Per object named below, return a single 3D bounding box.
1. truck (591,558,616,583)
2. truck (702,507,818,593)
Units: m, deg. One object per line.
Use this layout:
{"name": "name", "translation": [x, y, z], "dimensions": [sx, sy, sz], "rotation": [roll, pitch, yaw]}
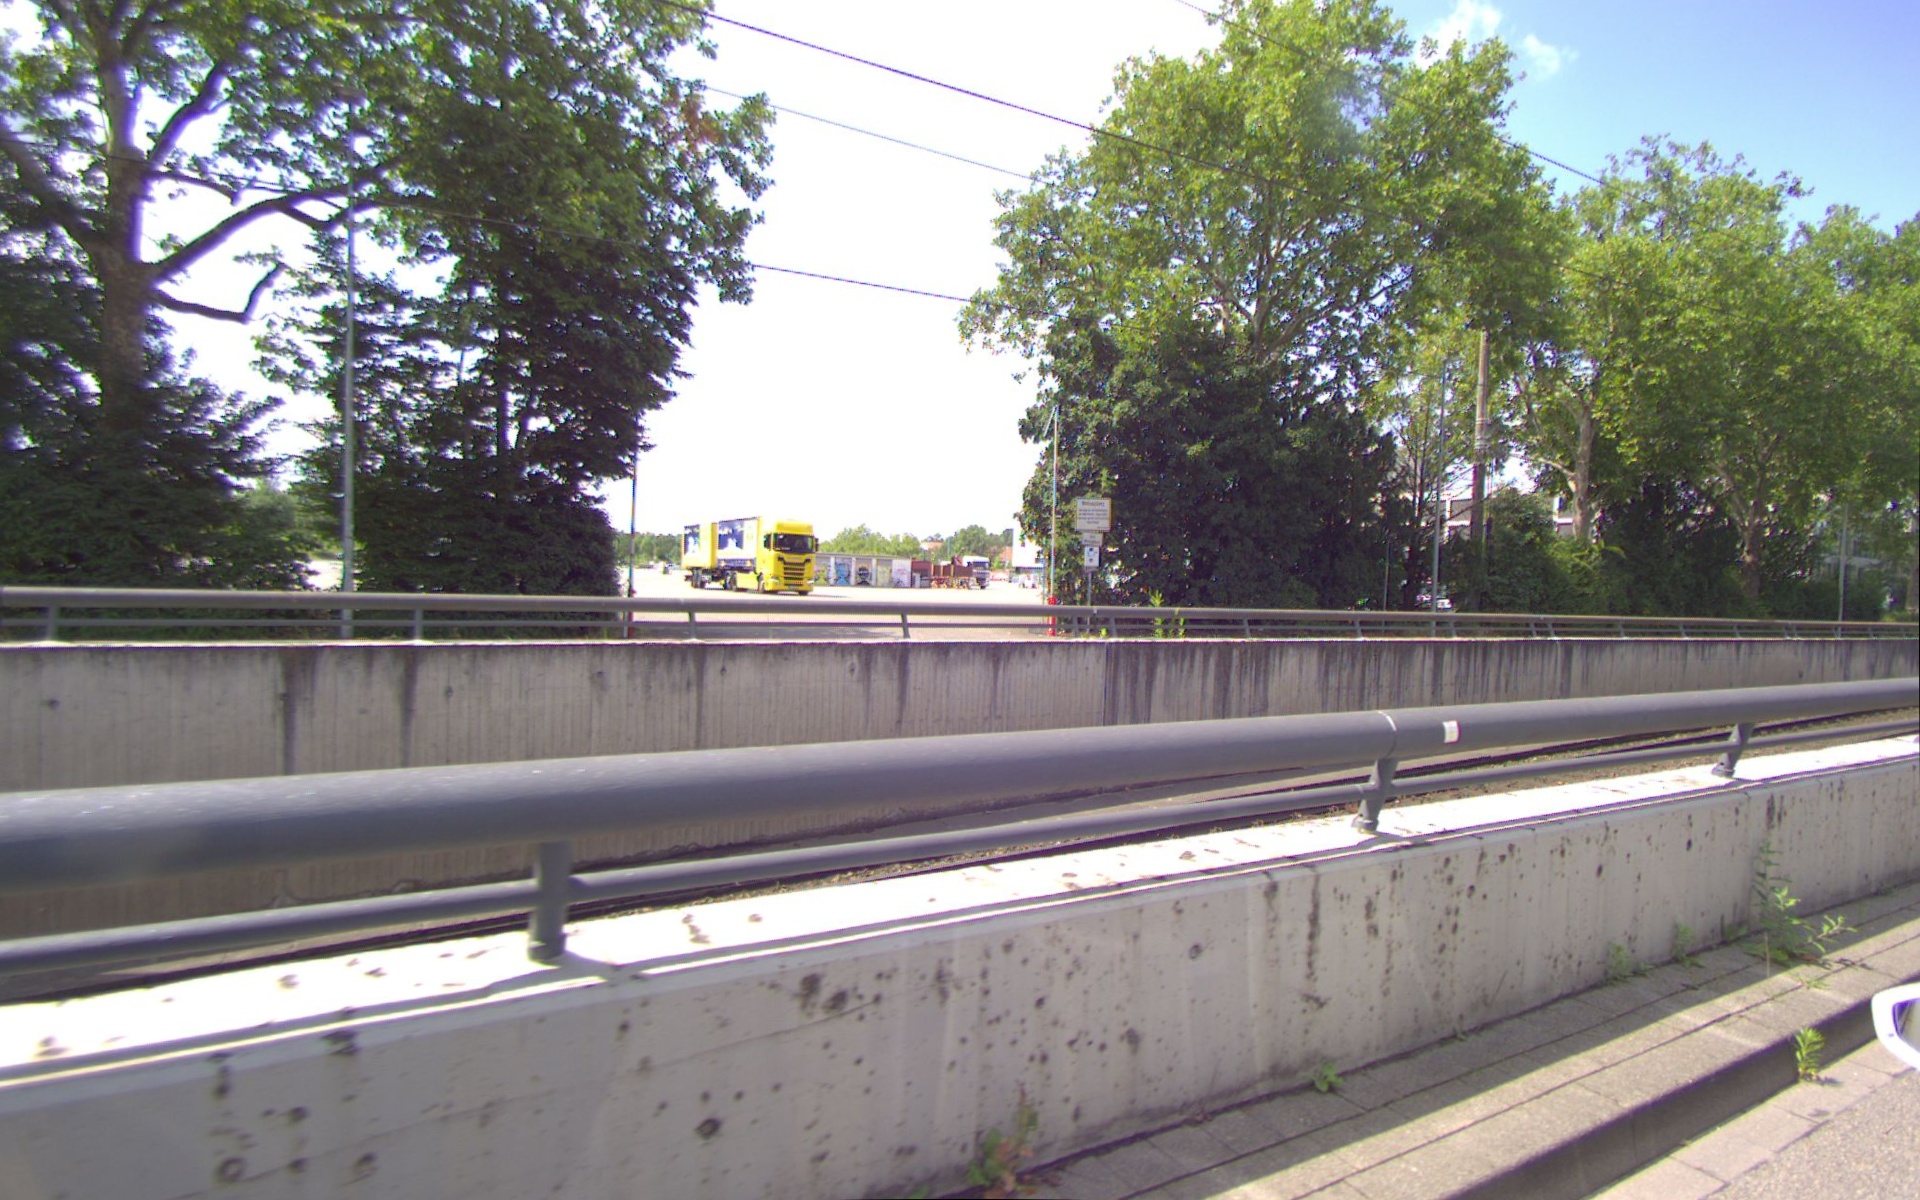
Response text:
{"name": "truck", "translation": [-61.031, -5.070, 171.894], "dimensions": [2.851, 3.999, 8.225], "rotation": [1, 0, -28]}
{"name": "truck", "translation": [-11.396, -2.519, 55.848], "dimensions": [2.714, 4.128, 12.735], "rotation": [1, 0, -28]}
